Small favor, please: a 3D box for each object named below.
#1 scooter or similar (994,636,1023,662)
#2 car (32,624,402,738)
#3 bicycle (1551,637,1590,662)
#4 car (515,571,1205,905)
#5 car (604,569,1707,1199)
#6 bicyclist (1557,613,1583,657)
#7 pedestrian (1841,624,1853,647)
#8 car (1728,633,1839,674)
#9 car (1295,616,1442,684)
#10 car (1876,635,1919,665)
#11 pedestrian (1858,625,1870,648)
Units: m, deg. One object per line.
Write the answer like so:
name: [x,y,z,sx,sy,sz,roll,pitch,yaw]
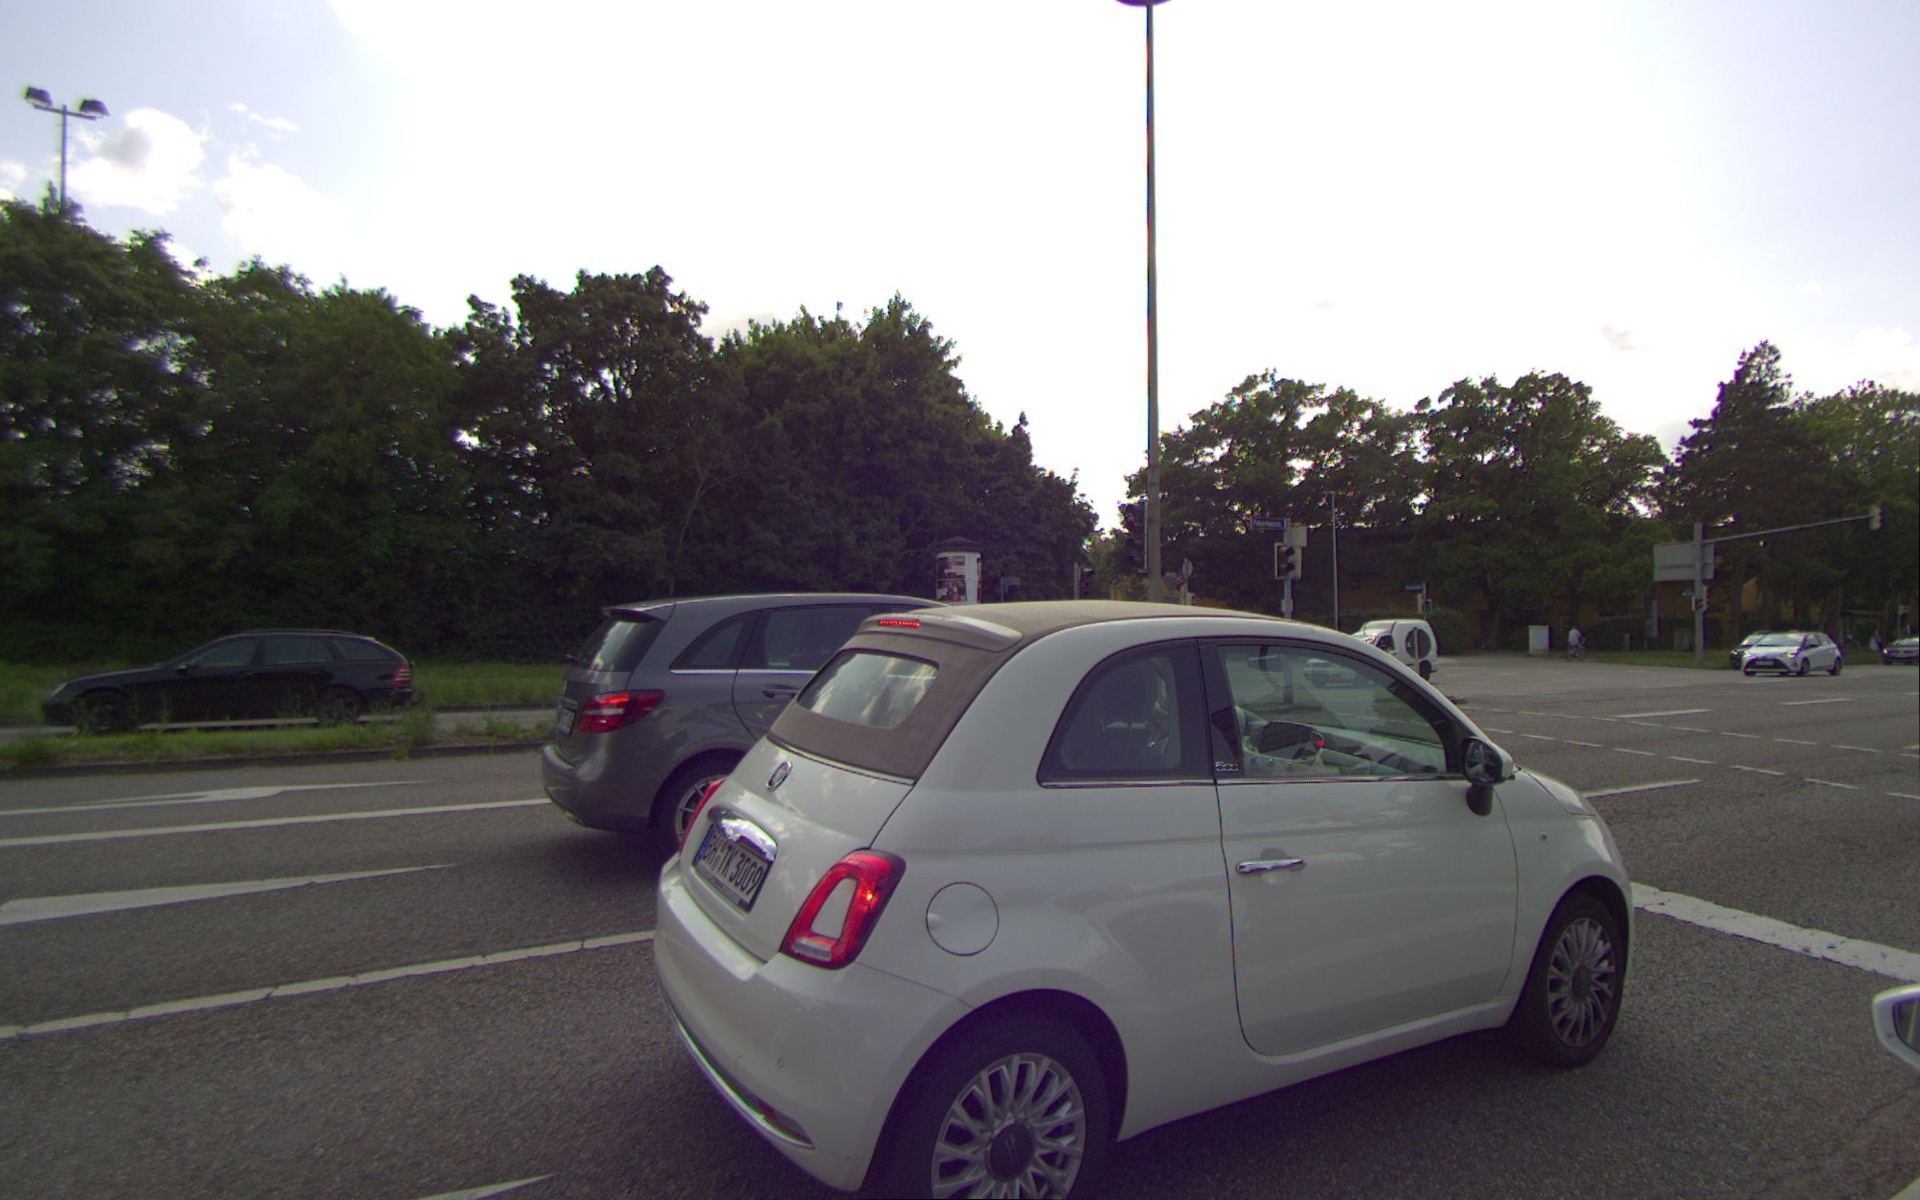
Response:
scooter or similar: [1.796,1.812,36.984,1.022,0.954,0.295,2,0,-24]
car: [-10.627,1.127,14.776,4.160,1.477,1.519,2,-2,-32]
bicycle: [28.893,2.324,47.514,2.091,1.133,0.751,1,-2,-33]
car: [-0.547,0.743,6.767,4.309,1.640,1.690,2,-1,-30]
car: [0.778,0.743,3.406,3.499,1.517,1.562,2,0,-30]
bicyclist: [28.833,1.653,47.494,0.822,2.040,0.747,1,-2,-32]
pedestrian: [59.731,2.416,67.617,0.418,1.515,0.564,2,0,-45]
car: [27.905,1.806,34.031,3.651,1.325,1.745,2,-4,-30]
car: [11.605,1.402,28.453,4.205,1.817,1.663,2,-2,-30]
car: [46.606,2.409,49.180,4.036,1.390,1.586,1,-2,-32]
pedestrian: [60.193,2.427,66.878,0.418,1.515,0.564,2,0,-45]
